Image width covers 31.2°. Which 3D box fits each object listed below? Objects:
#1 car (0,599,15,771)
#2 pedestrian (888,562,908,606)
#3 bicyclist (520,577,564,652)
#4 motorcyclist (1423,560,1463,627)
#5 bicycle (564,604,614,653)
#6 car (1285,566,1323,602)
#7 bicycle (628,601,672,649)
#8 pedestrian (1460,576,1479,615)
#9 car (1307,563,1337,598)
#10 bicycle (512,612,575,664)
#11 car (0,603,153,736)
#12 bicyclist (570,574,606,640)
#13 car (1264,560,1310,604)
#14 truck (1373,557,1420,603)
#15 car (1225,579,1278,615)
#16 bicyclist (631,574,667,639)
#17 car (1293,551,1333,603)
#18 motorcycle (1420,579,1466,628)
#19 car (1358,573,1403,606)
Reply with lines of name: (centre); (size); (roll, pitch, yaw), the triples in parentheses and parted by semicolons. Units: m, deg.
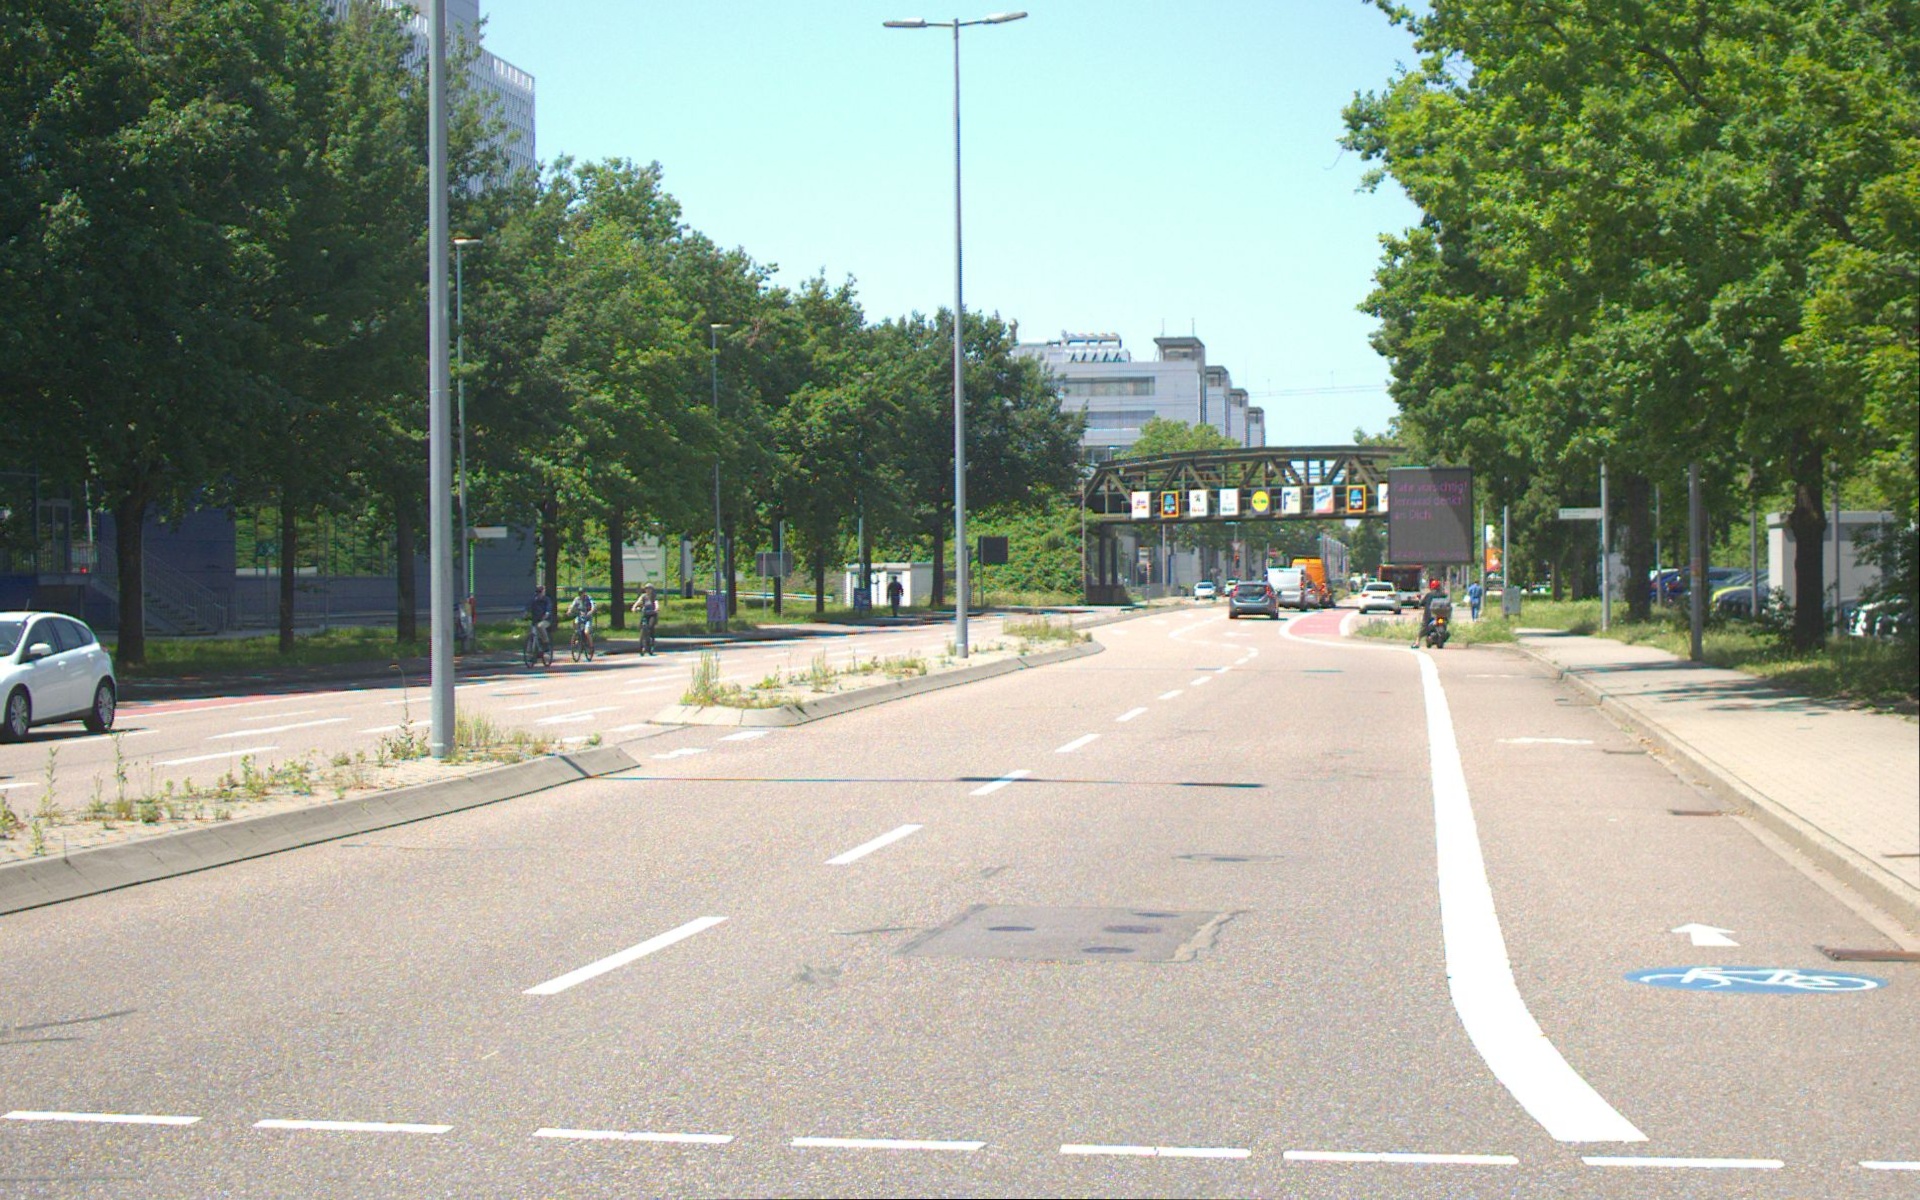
car: (-9.282, 0.745, 26.923); (1.727, 1.441, 4.718); (-2, 0, 10)
pedestrian: (-2.633, -0.680, 146.498); (0.744, 1.878, 0.577); (0, 0, 8)
bicyclist: (-9.452, 0.328, 77.828); (0.745, 1.680, 0.952); (0, 0, 10)
motorcyclist: (11.069, -0.156, 78.792); (0.719, 1.524, 0.871); (1, 0, -2)
bicycle: (-8.864, 0.677, 82.210); (0.637, 1.130, 1.970); (0, 0, 10)
car: (17.862, -0.843, 178.579); (1.895, 1.809, 3.999); (0, 1, 7)
bicycle: (-7.780, 0.617, 86.345); (0.629, 1.155, 2.117); (-2, 0, 7)
pedestrian: (18.160, -0.168, 122.586); (0.624, 1.370, 0.564); (0, 0, 6)
car: (21.344, -1.149, 202.591); (1.751, 2.007, 3.870); (0, 1, 7)
bicycle: (-9.433, 0.859, 77.920); (0.739, 1.121, 2.433); (0, 0, 10)
car: (-10.958, 0.787, 39.596); (1.727, 1.441, 4.450); (-2, 0, 8)
bicyclist: (-8.885, 0.162, 82.139); (0.637, 1.577, 0.884); (0, 0, 10)
car: (15.150, -0.823, 159.133); (1.994, 2.007, 3.999); (0, 0, 7)
truck: (23.840, -1.095, 187.766); (2.459, 2.402, 7.132); (2, 1, 7)
car: (11.346, -0.138, 133.681); (1.901, 1.371, 4.230); (0, 0, 7)
bicyclist: (-7.798, 0.158, 86.269); (0.634, 1.623, 1.044); (-2, 0, 7)
car: (19.516, -1.268, 189.822); (2.073, 2.845, 6.763); (0, 0, 7)
motorcycle: (11.065, 0.077, 78.806); (0.716, 1.101, 1.830); (1, 0, -2)
car: (18.674, -0.469, 152.747); (1.924, 1.415, 3.999); (0, 1, 7)
